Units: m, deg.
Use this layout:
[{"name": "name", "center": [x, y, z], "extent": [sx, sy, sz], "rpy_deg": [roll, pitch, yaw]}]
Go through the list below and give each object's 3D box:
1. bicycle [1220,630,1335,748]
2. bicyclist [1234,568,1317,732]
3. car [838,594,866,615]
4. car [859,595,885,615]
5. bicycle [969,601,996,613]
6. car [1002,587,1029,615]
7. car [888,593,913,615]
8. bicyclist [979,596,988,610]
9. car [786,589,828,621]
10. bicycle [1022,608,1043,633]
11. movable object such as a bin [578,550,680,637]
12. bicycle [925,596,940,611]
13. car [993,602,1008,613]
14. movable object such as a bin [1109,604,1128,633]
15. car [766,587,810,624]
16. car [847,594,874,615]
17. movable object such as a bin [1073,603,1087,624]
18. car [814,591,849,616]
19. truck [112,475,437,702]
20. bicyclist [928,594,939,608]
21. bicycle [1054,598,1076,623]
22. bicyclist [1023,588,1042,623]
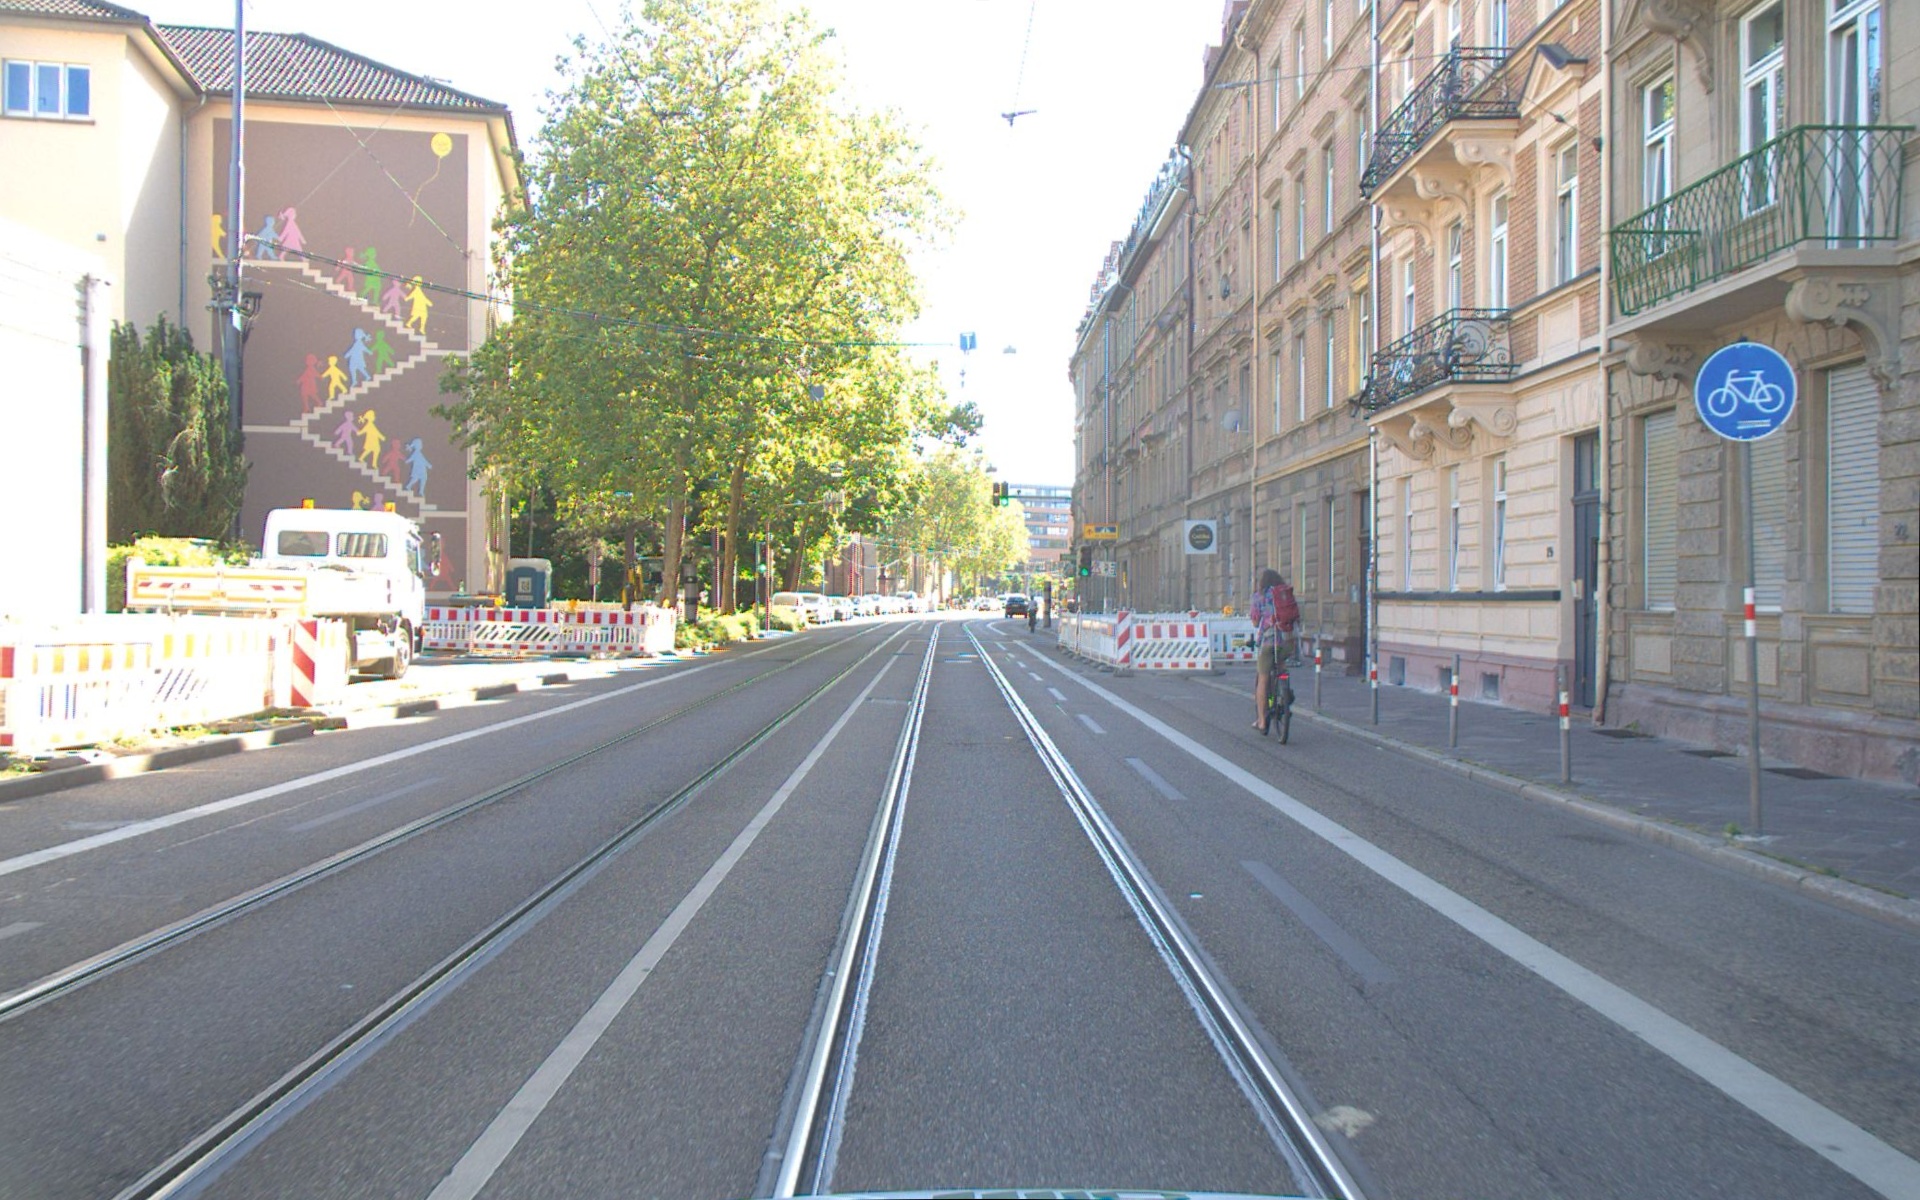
[{"name": "bicycle", "center": [3.432, 0.923, 18.119], "extent": [0.667, 1.134, 2.706], "rpy_deg": [2, 0, -1]}, {"name": "bicyclist", "center": [3.440, 0.533, 18.101], "extent": [0.653, 1.726, 1.043], "rpy_deg": [2, -1, -1]}, {"name": "car", "center": [-8.381, 0.381, 128.641], "extent": [1.712, 1.521, 4.044], "rpy_deg": [2, 0, 2]}, {"name": "car", "center": [-7.393, 0.444, 139.157], "extent": [1.712, 1.614, 4.044], "rpy_deg": [2, 0, 2]}, {"name": "bicycle", "center": [2.482, 0.749, 182.200], "extent": [2.826, 1.253, 0.885], "rpy_deg": [2, -1, 10]}, {"name": "car", "center": [4.315, 0.096, 129.275], "extent": [1.953, 2.049, 4.000], "rpy_deg": [2, 0, 0]}, {"name": "car", "center": [-5.713, 0.384, 159.474], "extent": [2.016, 2.088, 4.044], "rpy_deg": [2, 0, 2]}, {"name": "bicyclist", "center": [2.602, 0.335, 182.176], "extent": [0.880, 1.452, 1.054], "rpy_deg": [2, -1, 8]}, {"name": "car", "center": [-8.298, 0.296, 90.087], "extent": [1.712, 1.636, 4.044], "rpy_deg": [2, 0, 2]}, {"name": "bicycle", "center": [3.369, 0.941, 77.397], "extent": [0.838, 1.107, 2.487], "rpy_deg": [2, 0, 0]}, {"name": "movable object such as a bin", "center": [-11.085, -0.211, 55.837], "extent": [2.445, 2.691, 5.985], "rpy_deg": [2, 0, -3]}, {"name": "bicycle", "center": [-2.957, 0.374, 179.634], "extent": [1.208, 1.600, 2.899], "rpy_deg": [2, -1, 7]}, {"name": "car", "center": [5.299, 1.024, 217.995], "extent": [1.712, 1.447, 4.045], "rpy_deg": [2, 0, 4]}, {"name": "movable object such as a bin", "center": [6.407, 0.737, 66.882], "extent": [0.607, 1.129, 0.780], "rpy_deg": [2, -1, -3]}, {"name": "car", "center": [-8.264, 0.287, 79.651], "extent": [1.513, 1.687, 3.763], "rpy_deg": [2, 0, 2]}, {"name": "car", "center": [-8.020, 0.383, 133.711], "extent": [1.712, 1.614, 4.044], "rpy_deg": [2, 0, 2]}, {"name": "movable object such as a bin", "center": [6.193, 0.702, 85.062], "extent": [0.659, 1.054, 0.813], "rpy_deg": [0, 1, 0]}, {"name": "car", "center": [-8.206, 0.234, 105.699], "extent": [1.712, 1.536, 4.044], "rpy_deg": [2, 0, 2]}, {"name": "truck", "center": [-9.929, -0.128, 24.736], "extent": [2.488, 2.879, 6.370], "rpy_deg": [2, 0, -4]}, {"name": "bicyclist", "center": [-2.864, 0.135, 179.590], "extent": [1.054, 1.452, 1.147], "rpy_deg": [2, -1, 8]}, {"name": "bicycle", "center": [6.751, 0.708, 106.102], "extent": [0.950, 1.541, 3.248], "rpy_deg": [2, -1, 11]}, {"name": "bicyclist", "center": [3.390, 0.259, 77.354], "extent": [0.821, 1.585, 0.965], "rpy_deg": [2, -1, -1]}]
